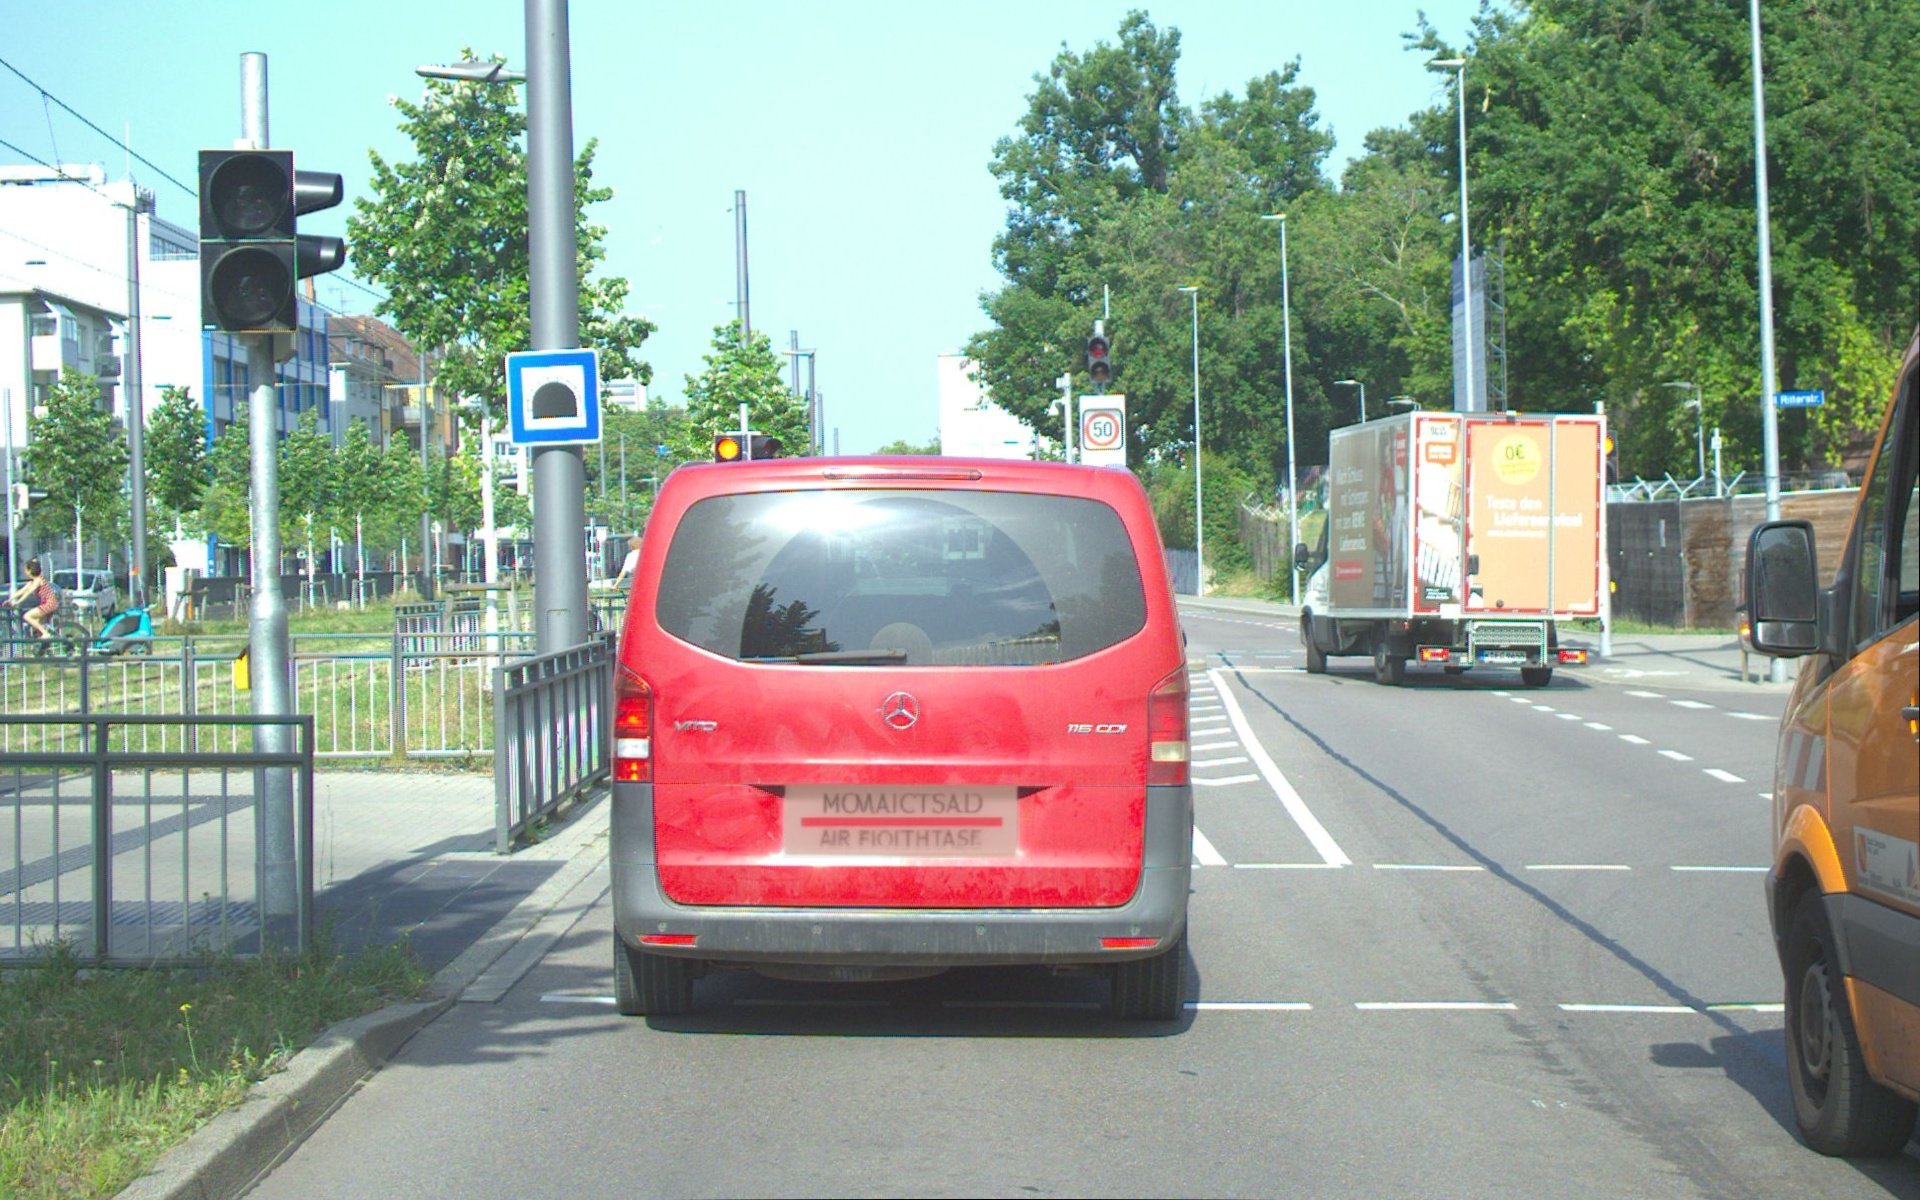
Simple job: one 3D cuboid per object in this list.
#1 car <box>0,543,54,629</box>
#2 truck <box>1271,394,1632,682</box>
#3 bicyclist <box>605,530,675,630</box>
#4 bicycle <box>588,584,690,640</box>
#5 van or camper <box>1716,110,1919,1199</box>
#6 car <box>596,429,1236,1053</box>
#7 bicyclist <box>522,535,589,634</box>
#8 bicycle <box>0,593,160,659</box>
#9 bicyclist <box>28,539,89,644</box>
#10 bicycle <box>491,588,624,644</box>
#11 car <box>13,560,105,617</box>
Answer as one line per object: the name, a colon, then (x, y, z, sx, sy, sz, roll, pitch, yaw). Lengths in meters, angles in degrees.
car: (-23.661, -0.297, 83.794, 1.993, 2.007, 4.000, -3, 0, 0)
truck: (5.630, -0.690, 40.799, 2.501, 3.050, 7.821, 1, 0, -5)
bicyclist: (-4.685, -0.293, 50.343, 0.686, 1.435, 0.804, 1, 0, 28)
bicycle: (-4.692, 0.178, 50.341, 0.719, 0.795, 1.601, 1, 0, 27)
van or camper: (3.122, 0.172, 6.572, 1.986, 2.463, 6.062, 1, 1, 0)
car: (-0.155, 0.394, 12.285, 1.901, 1.853, 4.000, 0, 1, -1)
bicyclist: (-6.224, -0.241, 52.927, 0.983, 1.495, 0.621, -2, 1, -6)
bicycle: (-14.216, 0.411, 54.394, 2.987, 0.962, 0.900, -1, 1, -15)
bicyclist: (-14.259, -0.134, 54.376, 0.889, 1.623, 0.892, -2, 1, -15)
bicycle: (-6.190, 0.247, 52.938, 1.996, 0.791, 0.629, -2, 1, -6)
car: (-33.741, -0.418, 128.889, 2.249, 2.007, 5.263, 1, -1, -2)
